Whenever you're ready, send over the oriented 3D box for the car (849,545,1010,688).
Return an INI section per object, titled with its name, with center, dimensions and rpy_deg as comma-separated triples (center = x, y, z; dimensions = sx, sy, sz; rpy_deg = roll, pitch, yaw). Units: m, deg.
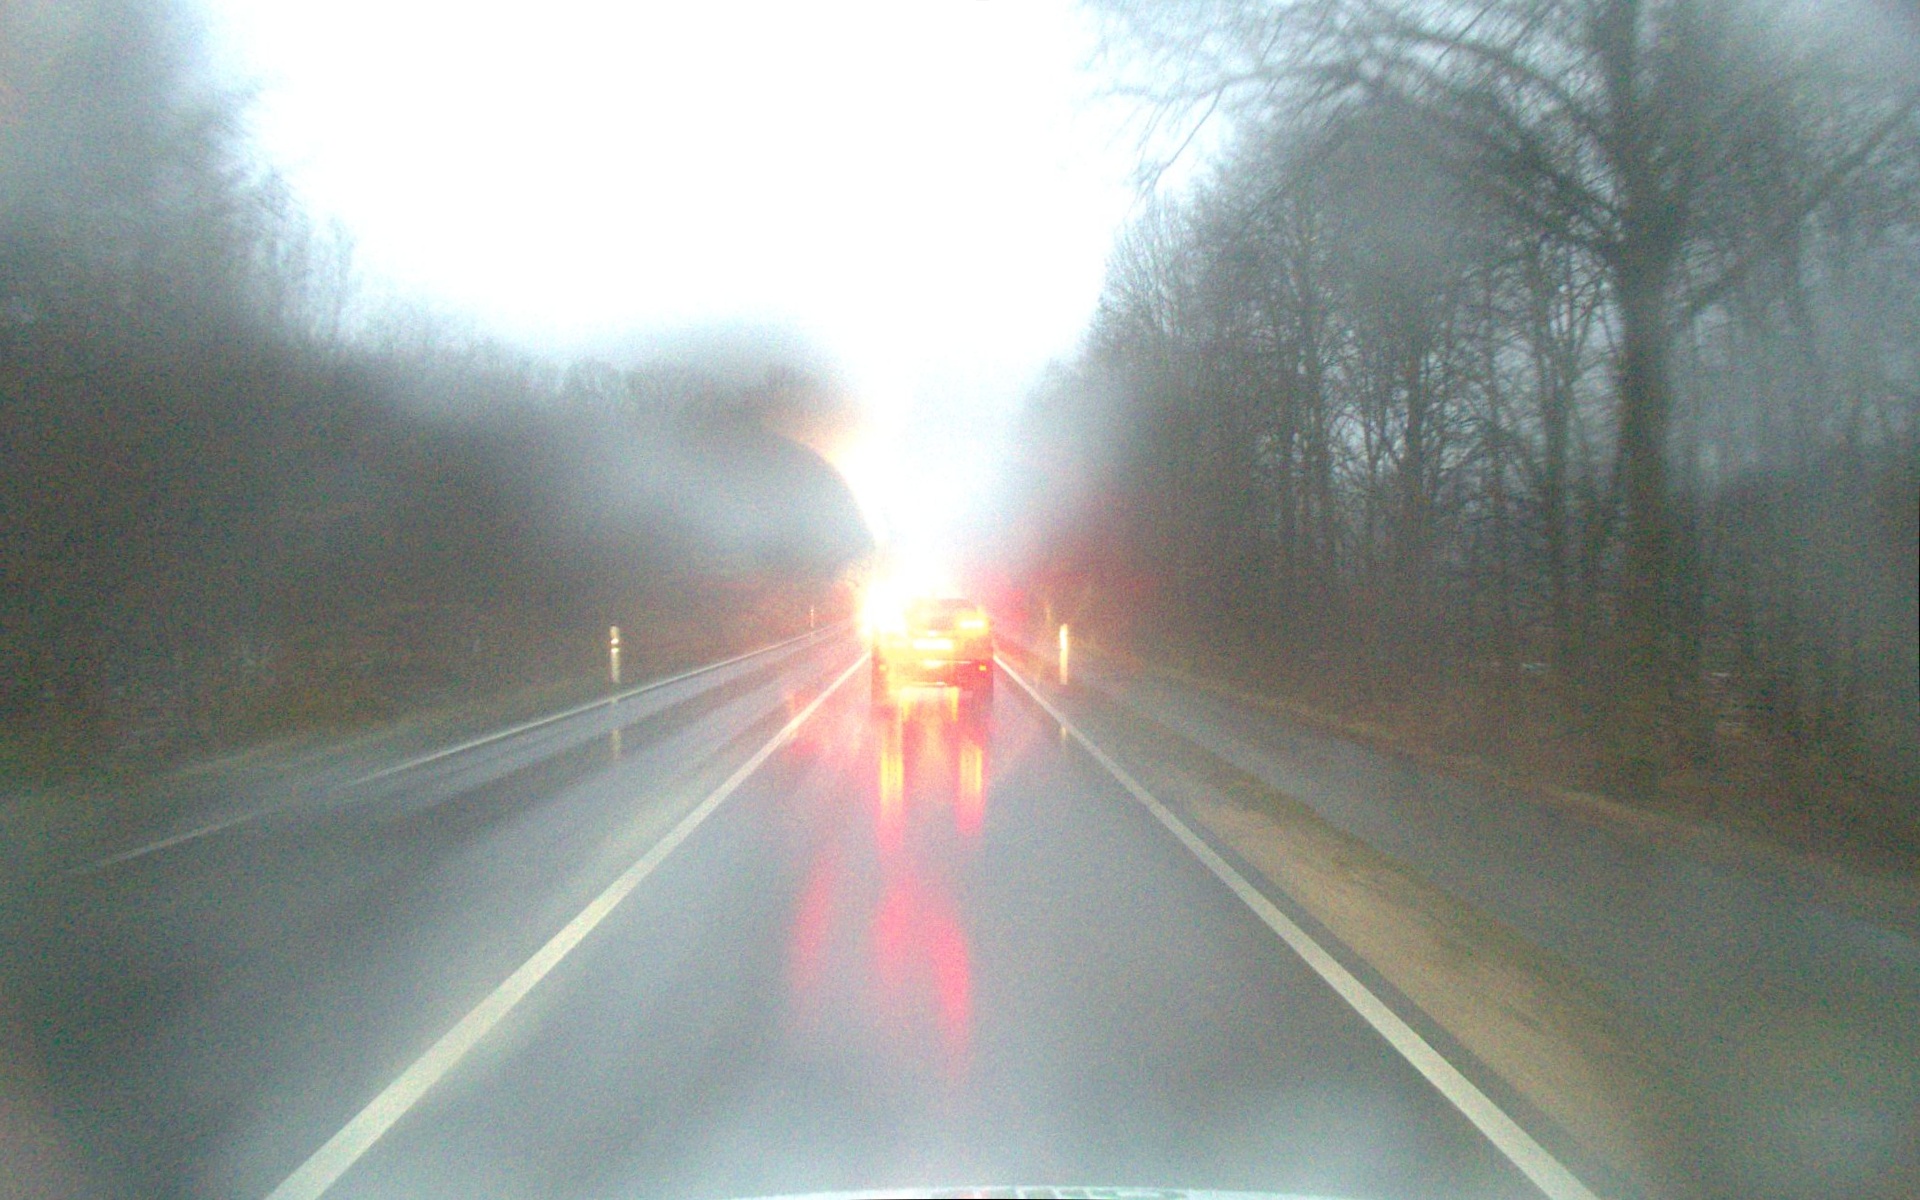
[car]
center = -0.479, 0.194, 24.882
dimensions = 2.154, 1.910, 4.826
rpy_deg = 1, 1, -2
